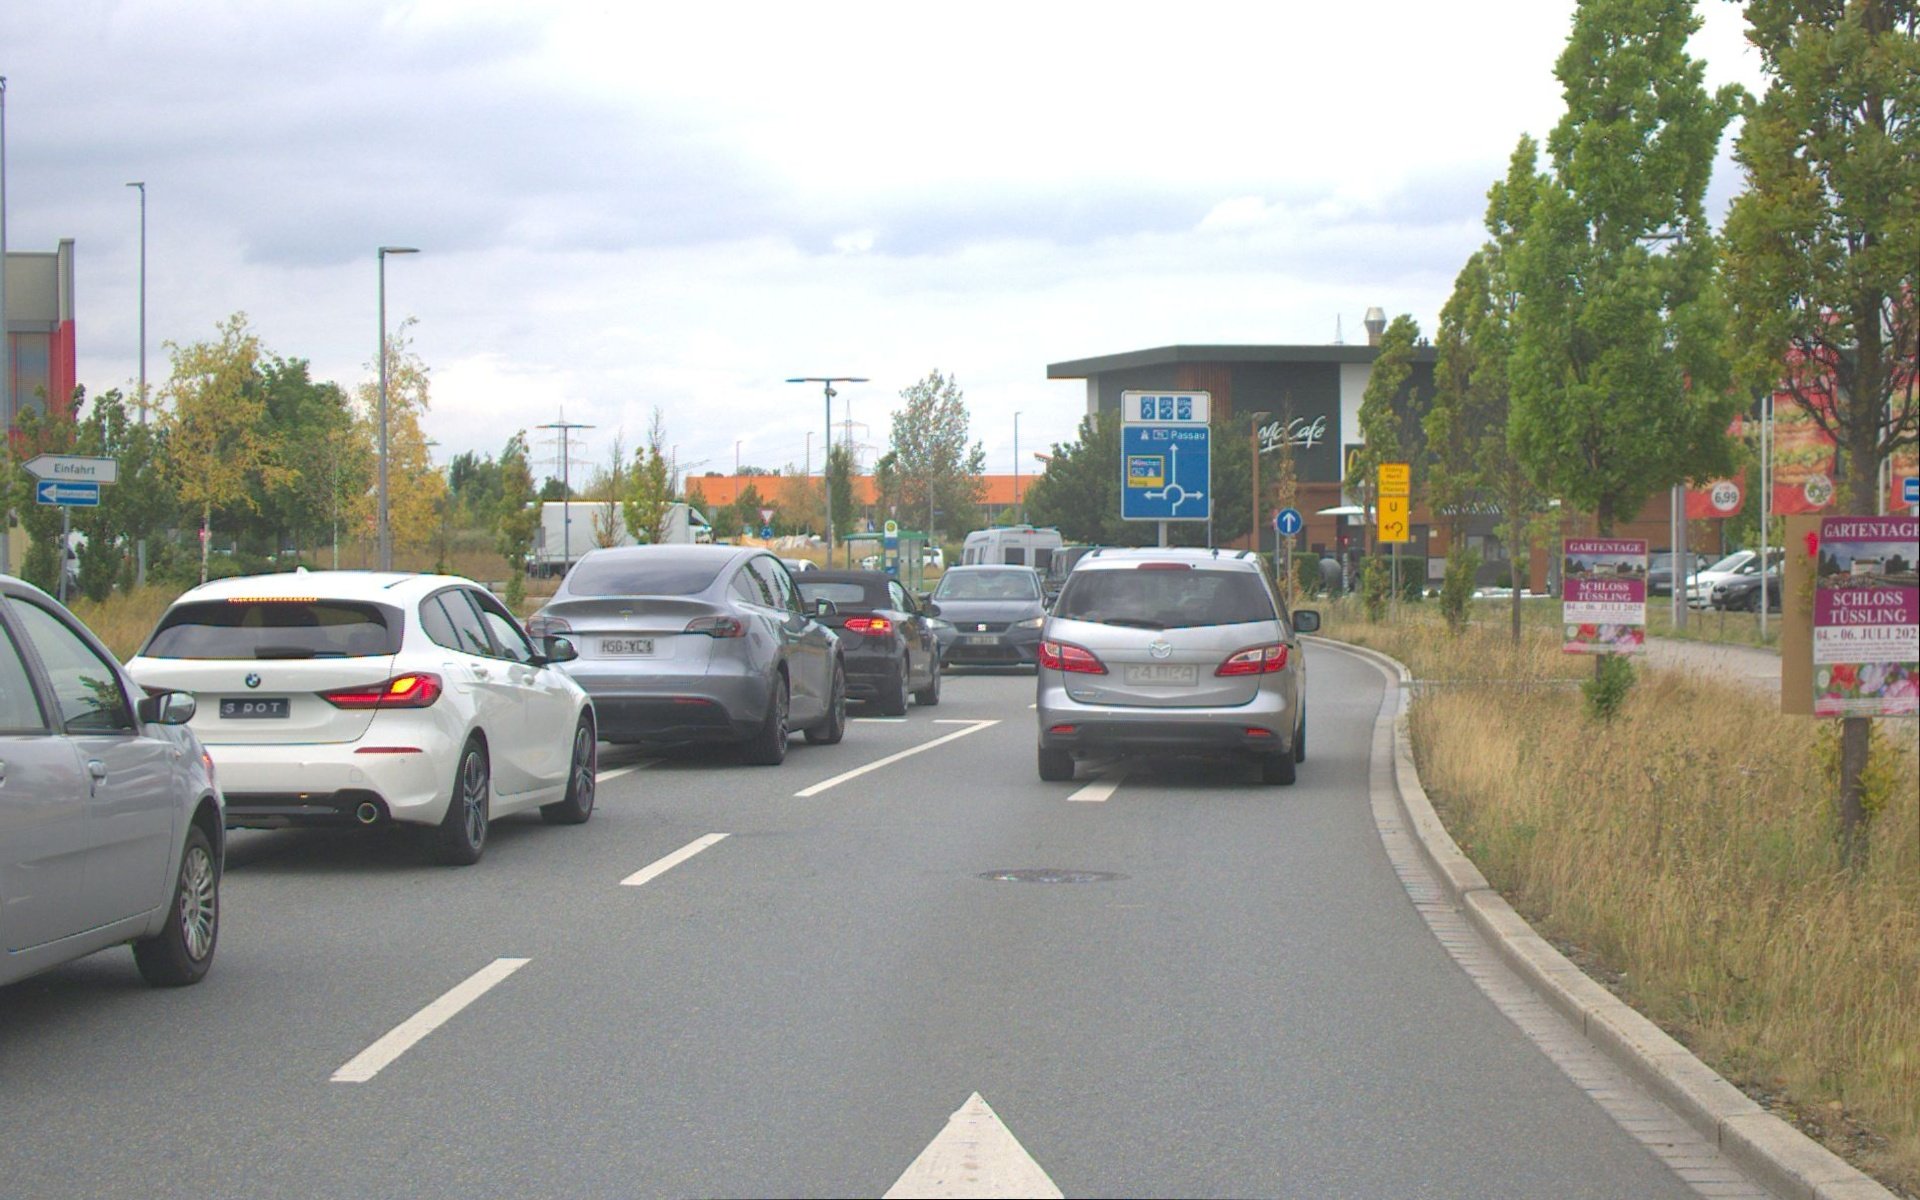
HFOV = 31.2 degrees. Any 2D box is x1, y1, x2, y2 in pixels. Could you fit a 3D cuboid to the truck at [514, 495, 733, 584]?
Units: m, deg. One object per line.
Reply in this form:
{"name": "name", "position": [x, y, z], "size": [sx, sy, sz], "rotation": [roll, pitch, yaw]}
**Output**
{"name": "truck", "position": [-14.984, -2.718, 153.554], "size": [9.305, 3.893, 3.143], "rotation": [-1, 1, -33]}

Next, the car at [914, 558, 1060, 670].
{"name": "car", "position": [0.402, 0.158, 46.039], "size": [1.829, 1.415, 4.245], "rotation": [0, 1, 2]}

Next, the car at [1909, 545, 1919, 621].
{"name": "car", "position": [23.176, -0.438, 74.474], "size": [4.561, 1.639, 2.089], "rotation": [-2, 1, -4]}

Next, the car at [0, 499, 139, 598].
{"name": "car", "position": [-25.140, -1.373, 91.430], "size": [6.406, 2.589, 2.244], "rotation": [0, 1, -13]}

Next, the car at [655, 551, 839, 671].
{"name": "car", "position": [-3.142, 0.123, 51.601], "size": [1.994, 1.631, 4.702], "rotation": [-2, 1, 5]}

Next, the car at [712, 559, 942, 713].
{"name": "car", "position": [-1.258, 0.331, 34.312], "size": [1.769, 1.433, 4.230], "rotation": [0, 0, 5]}

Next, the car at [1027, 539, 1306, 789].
{"name": "car", "position": [1.530, 0.385, 24.257], "size": [1.730, 1.594, 3.806], "rotation": [1, 1, 7]}

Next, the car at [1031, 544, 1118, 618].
{"name": "car", "position": [2.841, -0.492, 86.359], "size": [2.058, 1.819, 4.786], "rotation": [0, 1, 1]}

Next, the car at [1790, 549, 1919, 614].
{"name": "car", "position": [22.209, -0.458, 81.465], "size": [4.516, 1.464, 2.033], "rotation": [-1, 1, -9]}

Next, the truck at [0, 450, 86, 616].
{"name": "truck", "position": [-22.276, -1.431, 72.562], "size": [2.853, 3.529, 8.419], "rotation": [1, 1, 24]}

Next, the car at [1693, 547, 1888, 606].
{"name": "car", "position": [21.568, -0.623, 89.365], "size": [4.466, 1.431, 2.074], "rotation": [-1, 1, -12]}

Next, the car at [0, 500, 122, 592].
{"name": "car", "position": [-24.218, -1.357, 86.486], "size": [6.067, 2.299, 2.211], "rotation": [0, 1, -14]}

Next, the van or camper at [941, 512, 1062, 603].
{"name": "van or camper", "position": [1.122, -1.196, 96.631], "size": [2.302, 2.497, 5.207], "rotation": [0, 1, -12]}

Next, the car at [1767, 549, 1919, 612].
{"name": "car", "position": [22.162, -0.494, 84.444], "size": [4.082, 1.433, 1.943], "rotation": [-1, 1, -11]}

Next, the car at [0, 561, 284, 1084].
{"name": "car", "position": [-3.492, 0.622, 10.915], "size": [1.702, 1.433, 4.032], "rotation": [0, 1, 3]}

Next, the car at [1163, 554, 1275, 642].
{"name": "car", "position": [4.483, -0.062, 59.595], "size": [1.845, 1.413, 4.224], "rotation": [0, 1, 4]}

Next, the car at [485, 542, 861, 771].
{"name": "car", "position": [-2.064, 0.357, 26.191], "size": [1.994, 1.556, 4.612], "rotation": [0, 1, 6]}

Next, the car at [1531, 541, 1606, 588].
{"name": "car", "position": [22.302, -1.310, 125.915], "size": [1.995, 1.711, 3.996], "rotation": [1, 1, 21]}

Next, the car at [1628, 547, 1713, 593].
{"name": "car", "position": [21.325, -0.897, 103.109], "size": [1.813, 1.308, 3.845], "rotation": [0, 1, 23]}

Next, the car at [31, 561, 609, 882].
{"name": "car", "position": [-3.156, 0.541, 17.861], "size": [1.880, 1.463, 4.192], "rotation": [0, 0, 5]}

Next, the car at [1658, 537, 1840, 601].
{"name": "car", "position": [21.065, -0.848, 91.835], "size": [4.346, 1.634, 1.938], "rotation": [-1, 1, -15]}
